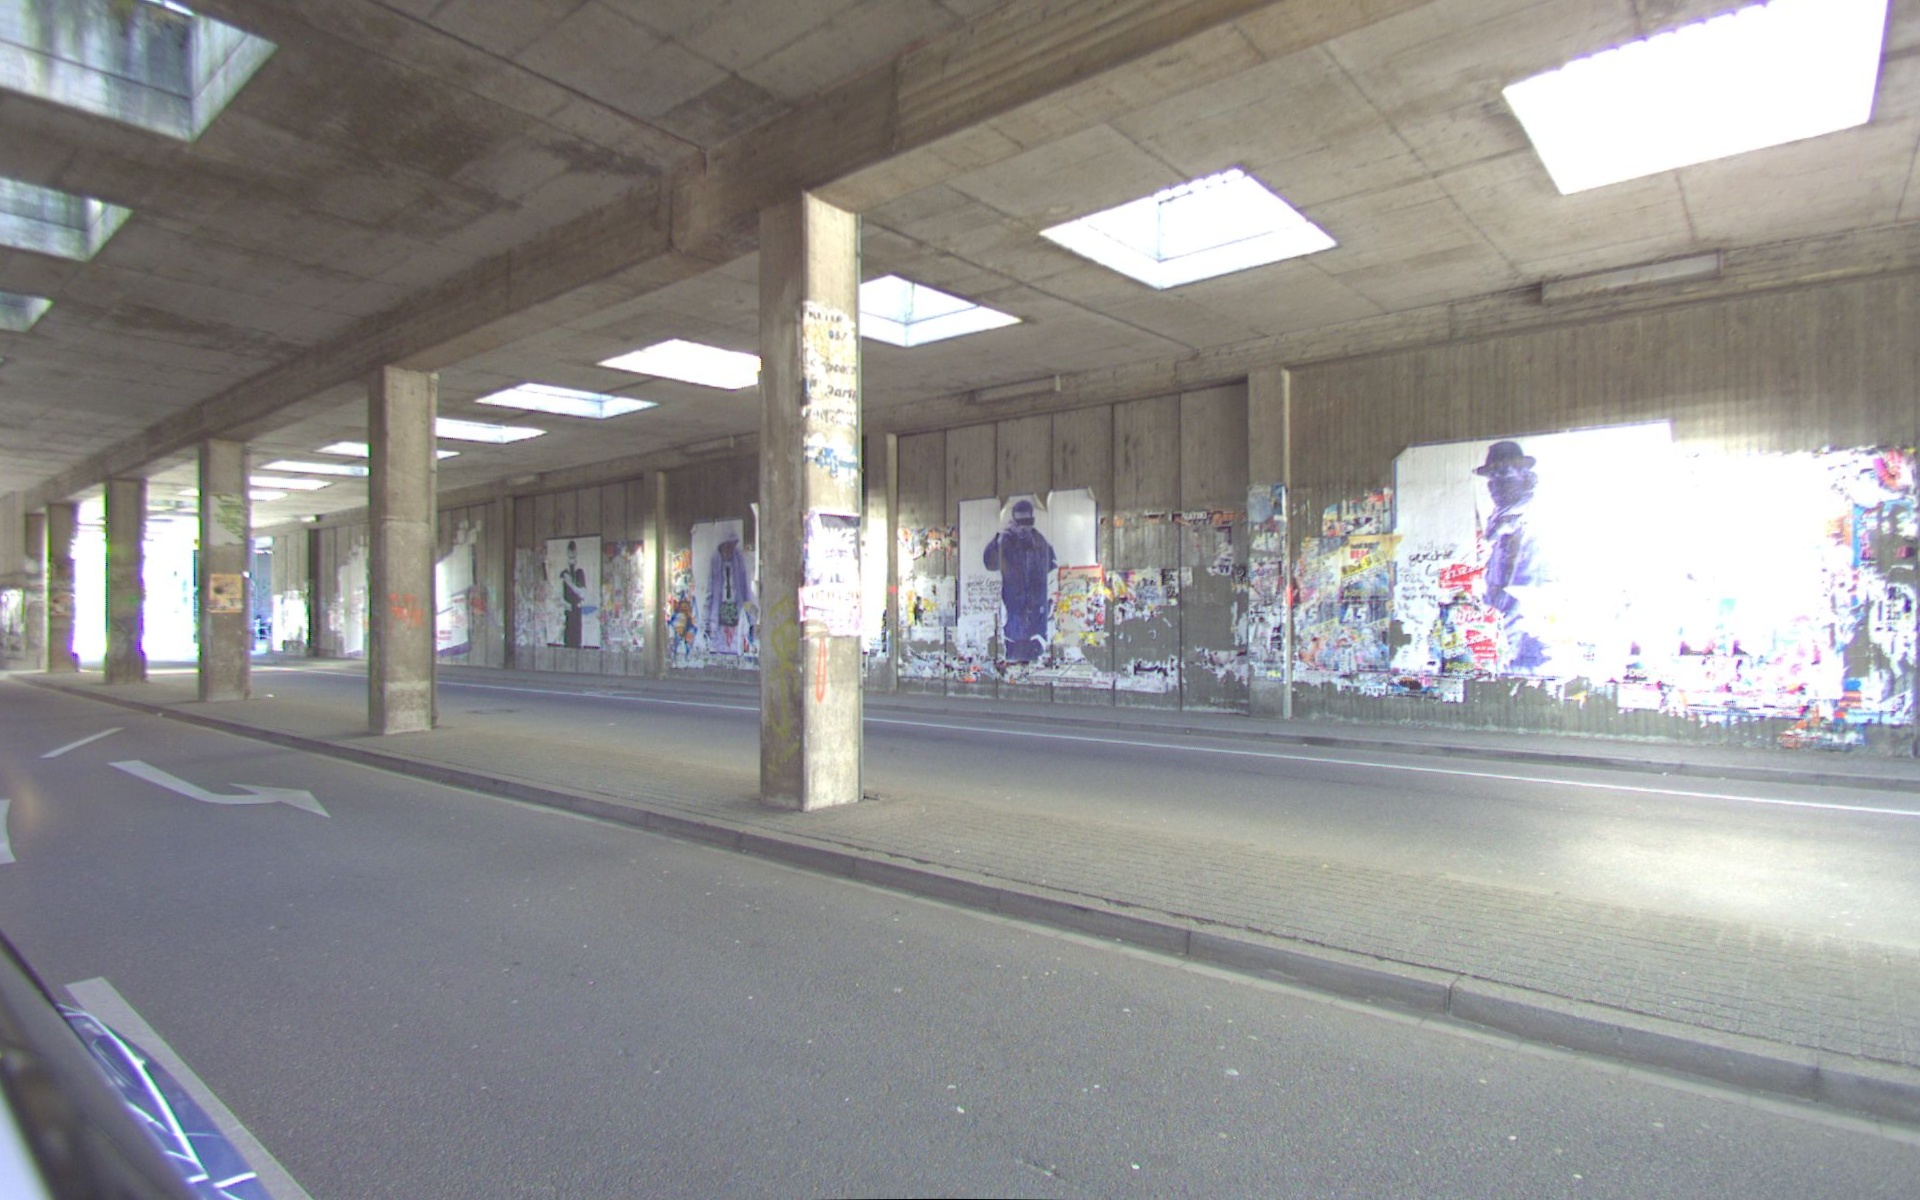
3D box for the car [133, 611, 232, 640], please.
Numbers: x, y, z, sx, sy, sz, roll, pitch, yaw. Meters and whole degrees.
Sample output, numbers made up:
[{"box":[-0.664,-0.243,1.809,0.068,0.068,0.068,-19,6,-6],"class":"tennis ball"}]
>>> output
[{"box":[-50.415,1.636,65.693,1.997,1.763,4.798,-1,0,38],"class":"car"}]
